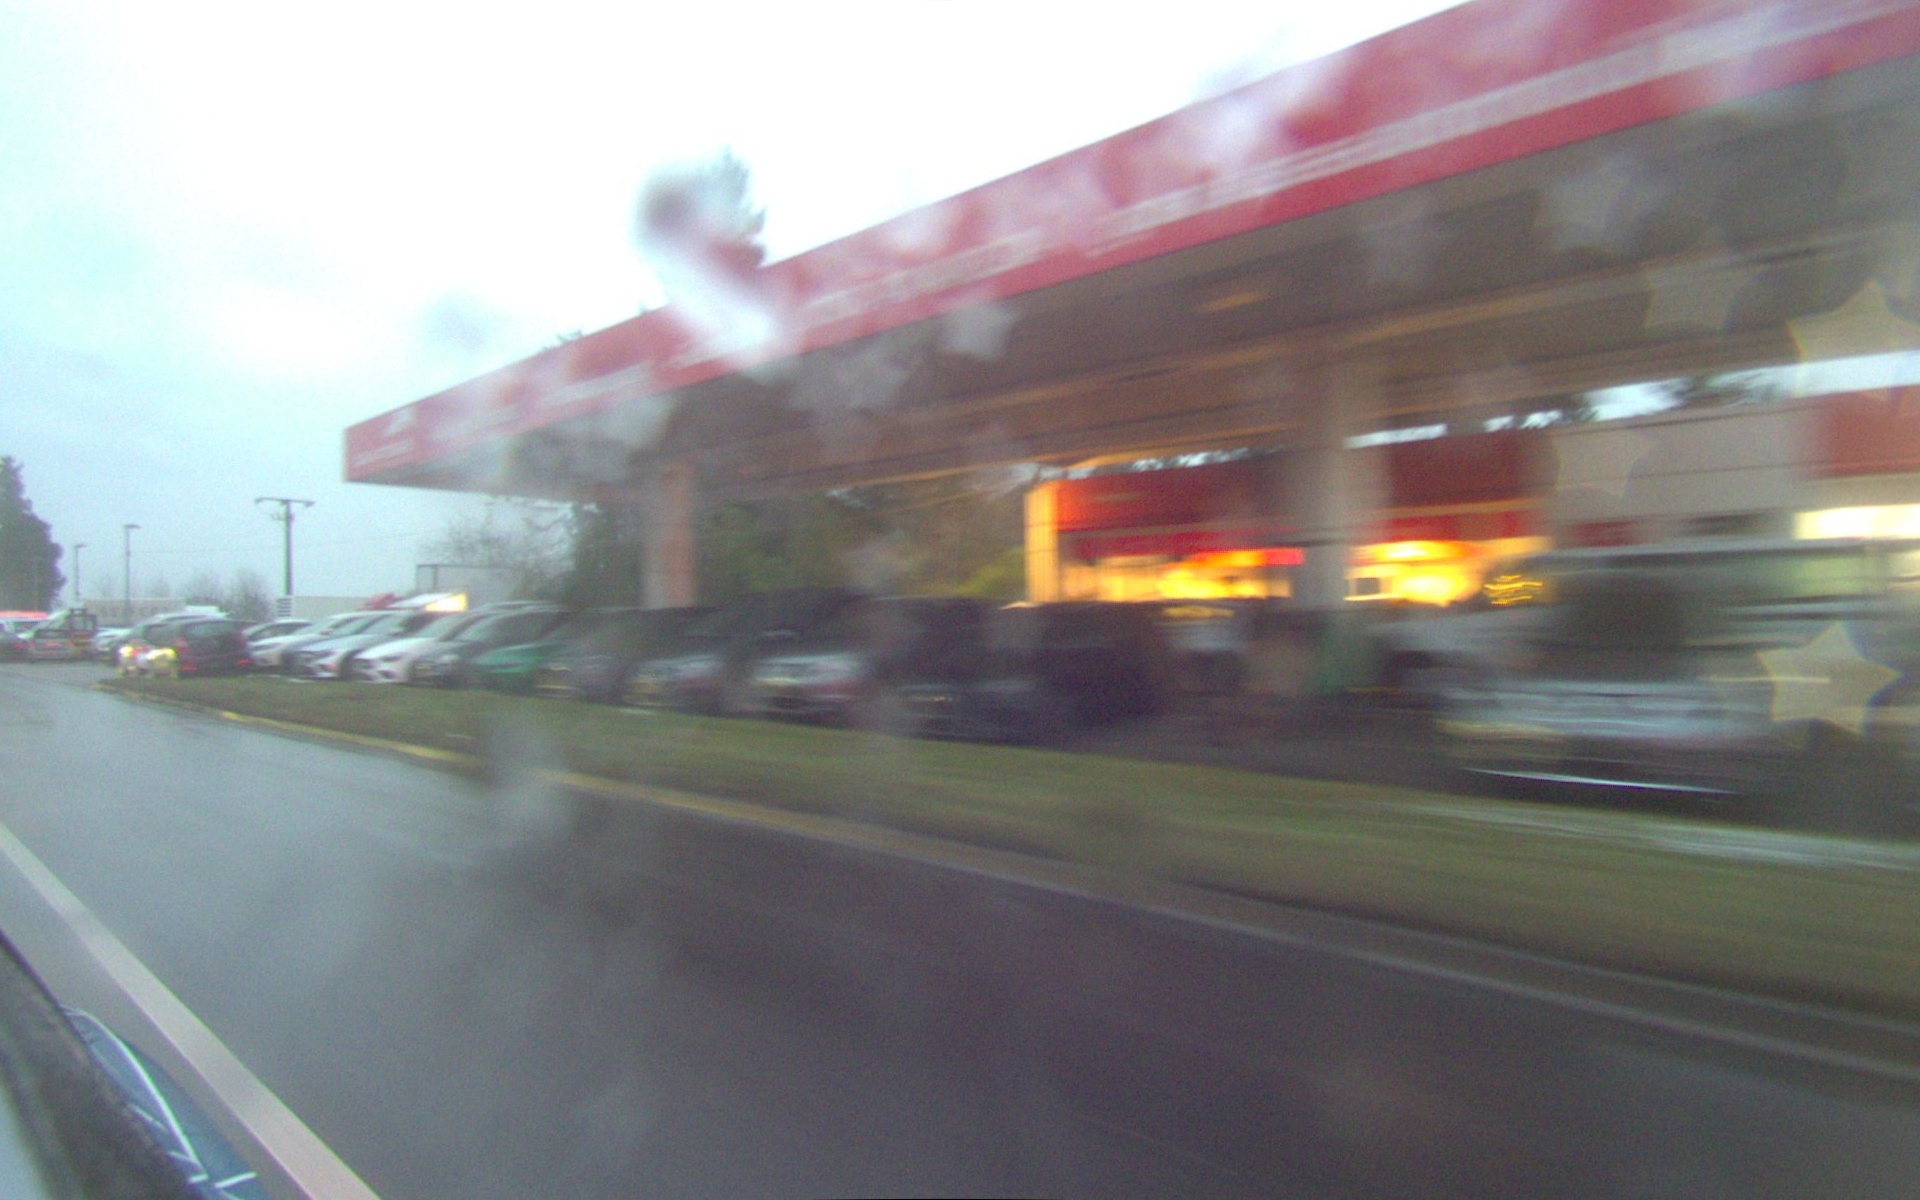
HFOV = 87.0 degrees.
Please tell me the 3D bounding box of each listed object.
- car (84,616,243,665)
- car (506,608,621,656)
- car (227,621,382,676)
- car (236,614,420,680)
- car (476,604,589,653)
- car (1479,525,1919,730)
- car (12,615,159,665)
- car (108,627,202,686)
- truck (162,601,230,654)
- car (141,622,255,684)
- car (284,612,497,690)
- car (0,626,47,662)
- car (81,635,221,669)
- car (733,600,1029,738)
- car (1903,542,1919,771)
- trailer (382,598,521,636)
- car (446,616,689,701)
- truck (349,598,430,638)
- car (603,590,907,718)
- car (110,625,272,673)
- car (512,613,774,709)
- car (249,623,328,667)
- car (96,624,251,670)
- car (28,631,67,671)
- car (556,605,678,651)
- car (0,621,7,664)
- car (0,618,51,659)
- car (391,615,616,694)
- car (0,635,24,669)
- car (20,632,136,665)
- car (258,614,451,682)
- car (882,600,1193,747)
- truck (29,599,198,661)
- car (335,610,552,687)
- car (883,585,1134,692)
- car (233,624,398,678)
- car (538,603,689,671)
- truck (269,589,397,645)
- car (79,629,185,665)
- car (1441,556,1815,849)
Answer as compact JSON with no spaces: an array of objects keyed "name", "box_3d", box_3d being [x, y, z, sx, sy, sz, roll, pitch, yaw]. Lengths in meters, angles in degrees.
[{"name":"car","box_3d":[-30.798,1.530,39.258,2.006,1.689,4.493,-2,-1,36]},{"name":"car","box_3d":[-16.338,1.298,41.803,1.957,1.822,3.946,-2,-1,40]},{"name":"car","box_3d":[-20.670,1.496,32.042,1.774,1.470,3.736,-2,0,38]},{"name":"car","box_3d":[-17.601,1.255,28.302,1.941,1.662,4.004,-2,-1,42]},{"name":"car","box_3d":[-18.125,1.179,43.003,1.957,1.937,3.946,-2,-1,40]},{"name":"car","box_3d":[8.143,0.286,11.153,3.997,1.883,1.867,-1,-1,40]},{"name":"car","box_3d":[-49.388,2.192,57.289,2.193,2.658,5.973,-2,-2,38]},{"name":"car","box_3d":[-22.608,1.551,28.383,3.013,1.555,1.502,-2,-3,40]},{"name":"truck","box_3d":[-51.740,1.903,68.463,5.841,3.481,2.012,-2,-4,37]},{"name":"car","box_3d":[-19.412,1.295,25.731,3.740,1.431,1.664,-2,-1,43]},{"name":"car","box_3d":[-13.344,1.146,23.886,1.822,1.566,3.990,-3,0,40]},{"name":"car","box_3d":[-58.845,2.675,61.265,2.057,2.167,5.093,-2,-3,40]},{"name":"car","box_3d":[-36.928,2.350,46.300,1.781,1.448,4.709,-2,-3,38]},{"name":"car","box_3d":[-0.944,0.816,13.685,1.838,1.571,3.819,-2,-1,40]},{"name":"car","box_3d":[7.641,0.461,6.564,1.999,1.777,4.233,-2,1,41]},{"name":"trailer","box_3d":[-39.038,1.225,78.224,2.208,2.694,10.415,-2,0,26]},{"name":"car","box_3d":[-7.183,1.013,18.788,1.838,1.356,3.819,-2,-1,40]},{"name":"truck","box_3d":[-41.327,1.273,73.453,2.222,2.717,4.683,-2,0,26]},{"name":"car","box_3d":[-2.980,0.721,15.445,1.979,1.669,4.237,-2,-1,40]},{"name":"car","box_3d":[-27.233,1.690,35.945,1.824,1.509,4.291,-2,-1,41]},{"name":"car","box_3d":[-5.190,0.934,16.927,1.838,1.356,3.819,-2,-1,40]},{"name":"car","box_3d":[-27.462,1.824,41.338,3.702,1.689,1.653,-2,-1,39]},{"name":"car","box_3d":[-29.036,1.699,37.434,1.995,1.509,4.288,-2,-1,43]},{"name":"car","box_3d":[-39.217,2.171,43.511,1.157,1.657,2.874,1,-2,-41]},{"name":"car","box_3d":[-12.978,1.033,38.405,1.957,1.588,3.946,-2,-1,40]},{"name":"car","box_3d":[-47.354,2.064,48.750,4.483,2.028,1.815,-2,-1,43]},{"name":"car","box_3d":[-62.282,2.471,64.601,2.174,2.652,6.093,-2,-3,40]},{"name":"car","box_3d":[-9.292,1.046,20.808,1.838,1.416,3.819,-2,-1,40]},{"name":"car","box_3d":[-42.965,2.285,44.841,4.252,1.331,1.555,0,-1,39]},{"name":"car","box_3d":[-41.820,2.332,48.027,1.809,1.489,3.870,-2,-4,40]},{"name":"car","box_3d":[-15.298,1.155,25.715,1.838,1.463,3.820,-2,0,40]},{"name":"car","box_3d":[1.060,0.752,12.132,1.838,1.452,3.819,-2,-1,40]},{"name":"truck","box_3d":[-46.077,1.561,55.254,2.332,3.166,6.791,-2,-2,39]},{"name":"car","box_3d":[-11.329,1.007,22.385,1.942,1.420,3.820,-2,0,40]},{"name":"car","box_3d":[0.775,0.650,17.870,4.145,1.669,1.869,-2,-1,41]},{"name":"car","box_3d":[-19.347,1.482,30.489,1.838,1.356,3.820,-2,0,40]},{"name":"car","box_3d":[-8.874,0.939,25.771,4.042,1.566,1.848,-3,0,42]},{"name":"truck","box_3d":[-51.959,1.362,84.195,2.994,4.293,8.628,-2,1,29]},{"name":"car","box_3d":[-44.109,2.466,53.984,2.021,1.746,4.012,-2,-1,37]},{"name":"car","box_3d":[5.597,0.555,8.210,1.999,1.675,4.233,-2,1,41]}]
